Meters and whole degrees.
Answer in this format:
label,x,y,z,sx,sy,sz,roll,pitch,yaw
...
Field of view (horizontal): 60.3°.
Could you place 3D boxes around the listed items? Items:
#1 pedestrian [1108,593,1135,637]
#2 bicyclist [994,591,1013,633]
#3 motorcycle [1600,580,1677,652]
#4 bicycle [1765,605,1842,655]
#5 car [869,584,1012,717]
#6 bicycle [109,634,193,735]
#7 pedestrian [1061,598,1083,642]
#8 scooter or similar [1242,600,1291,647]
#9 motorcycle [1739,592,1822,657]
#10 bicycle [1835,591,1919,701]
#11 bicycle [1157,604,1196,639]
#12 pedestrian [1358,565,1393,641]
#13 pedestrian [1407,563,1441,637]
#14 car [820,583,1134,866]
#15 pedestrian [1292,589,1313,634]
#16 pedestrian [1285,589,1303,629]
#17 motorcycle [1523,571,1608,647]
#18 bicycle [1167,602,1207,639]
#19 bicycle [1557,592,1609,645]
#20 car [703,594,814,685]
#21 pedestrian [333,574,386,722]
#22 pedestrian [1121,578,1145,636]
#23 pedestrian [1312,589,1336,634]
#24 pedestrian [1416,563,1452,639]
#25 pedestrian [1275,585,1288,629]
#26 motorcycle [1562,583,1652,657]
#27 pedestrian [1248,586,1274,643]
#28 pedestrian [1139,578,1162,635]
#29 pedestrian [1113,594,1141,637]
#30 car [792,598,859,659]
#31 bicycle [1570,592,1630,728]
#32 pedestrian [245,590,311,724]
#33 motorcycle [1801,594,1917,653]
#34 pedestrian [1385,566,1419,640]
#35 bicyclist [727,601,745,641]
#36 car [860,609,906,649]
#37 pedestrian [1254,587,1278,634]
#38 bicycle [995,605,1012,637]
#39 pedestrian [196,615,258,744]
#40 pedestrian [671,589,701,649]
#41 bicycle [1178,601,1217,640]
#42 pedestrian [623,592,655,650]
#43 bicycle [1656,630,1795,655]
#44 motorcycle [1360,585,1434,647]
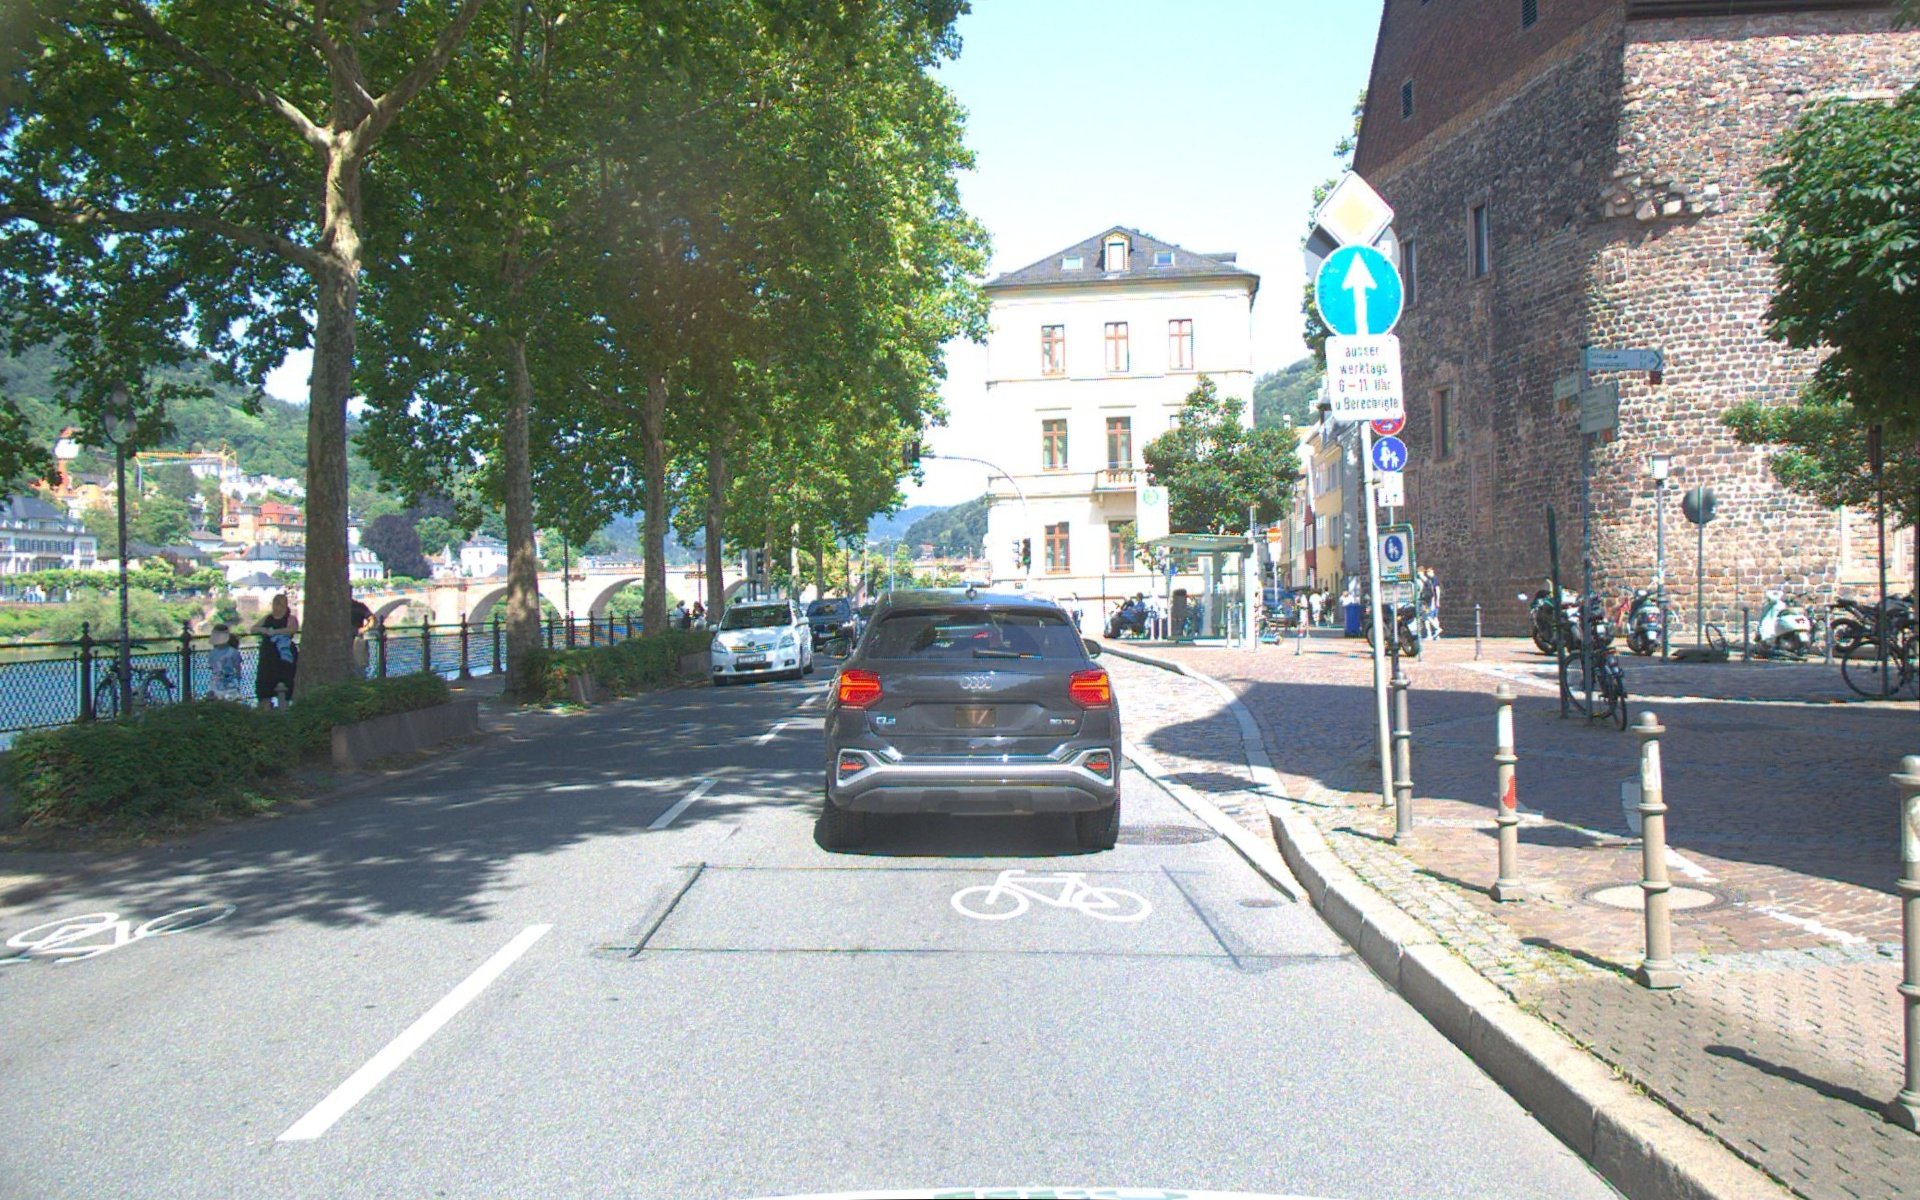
label,x,y,z,sx,sy,sz,roll,pitch,yaw
pedestrian,4.675,0.429,47.949,0.651,1.253,0.640,1,-1,-7
bicyclist,1.551,0.419,58.745,0.593,1.475,0.590,1,-1,-6
motorcycle,12.272,0.297,29.954,0.535,1.257,2.030,1,-1,-1
bicycle,15.122,0.526,29.690,0.346,0.835,1.925,1,0,-2
car,-0.266,0.626,22.244,1.756,1.623,3.398,1,0,-1
bicycle,-9.528,0.977,19.515,0.352,1.110,1.295,2,0,-2
pedestrian,3.897,0.700,57.510,0.679,1.527,0.513,1,-1,-5
scooter or similar,7.132,0.551,38.525,1.067,1.084,0.323,1,-1,-3
motorcycle,14.127,0.423,28.536,0.496,1.092,1.839,1,-1,-1
bicycle,10.594,0.499,18.787,0.437,1.182,1.731,-1,0,2
bicycle,6.375,0.637,48.708,1.166,1.033,0.178,1,-1,-20
pedestrian,10.775,0.082,42.908,0.732,1.923,0.752,1,-1,1
pedestrian,12.452,0.014,44.359,0.655,1.954,0.821,1,-1,-2
car,0.069,0.677,10.863,1.707,1.535,3.646,0,0,-1
pedestrian,15.853,0.530,76.611,0.822,2.049,0.738,1,-1,-1
pedestrian,13.080,0.348,64.752,0.609,1.559,0.466,1,-1,2
motorcycle,10.659,0.172,29.197,0.642,1.288,2.199,0,-1,-1
bicycle,6.596,0.603,48.073,1.184,1.053,0.178,1,-1,-20
bicycle,14.857,0.446,39.469,0.381,1.230,1.715,1,-1,-9
car,-4.014,0.750,33.538,1.704,1.599,4.091,-4,0,-1
pedestrian,-7.897,0.623,21.752,0.523,1.920,0.436,1,0,-1
pedestrian,6.222,0.249,59.532,0.626,2.049,0.664,0,-1,28
pedestrian,16.851,0.535,76.498,0.921,2.049,0.807,1,-1,-1
pedestrian,12.945,0.029,45.201,0.715,2.049,0.878,1,-1,-1
pedestrian,12.588,0.278,64.760,0.440,1.710,0.466,1,-1,2
motorcycle,11.473,0.351,29.416,0.661,1.257,2.312,1,-1,-1
pedestrian,7.569,0.370,41.548,0.546,1.409,0.588,1,-1,1
pedestrian,6.801,0.234,59.050,0.626,2.049,0.664,0,-1,28
pedestrian,4.770,0.446,47.213,0.651,1.233,0.640,1,-1,-7
car,-4.438,0.920,55.202,1.777,1.754,4.421,-6,0,-1
bicycle,6.129,0.542,15.880,0.189,1.225,1.771,0,0,10
pedestrian,-8.930,0.734,21.672,0.589,1.715,0.583,-1,0,-2
motorcycle,16.636,0.435,30.632,1.826,1.072,0.480,1,-1,7
pedestrian,11.699,0.082,43.812,0.655,1.917,0.821,1,-1,-2
bicyclist,-7.417,0.699,54.835,0.555,1.334,0.551,1,-1,-5
car,-3.617,1.365,78.299,1.952,1.838,4.000,1,-1,1
pedestrian,13.574,0.476,73.346,0.925,2.049,0.807,1,-1,-1
bicycle,1.537,0.755,58.702,0.428,1.105,1.675,1,-1,-5
pedestrian,-8.018,0.865,18.094,0.469,1.386,0.417,1,0,3
pedestrian,-9.424,0.655,56.899,0.891,2.049,0.586,1,-1,3
bicycle,6.788,0.594,47.321,1.140,1.089,0.178,1,-1,-20
pedestrian,-10.413,0.686,53.638,0.891,1.877,0.586,1,-1,3
bicycle,12.376,0.689,26.796,1.887,0.388,0.918,-1,-1,14
motorcycle,7.710,0.274,29.264,0.555,1.030,2.489,-1,0,-2
